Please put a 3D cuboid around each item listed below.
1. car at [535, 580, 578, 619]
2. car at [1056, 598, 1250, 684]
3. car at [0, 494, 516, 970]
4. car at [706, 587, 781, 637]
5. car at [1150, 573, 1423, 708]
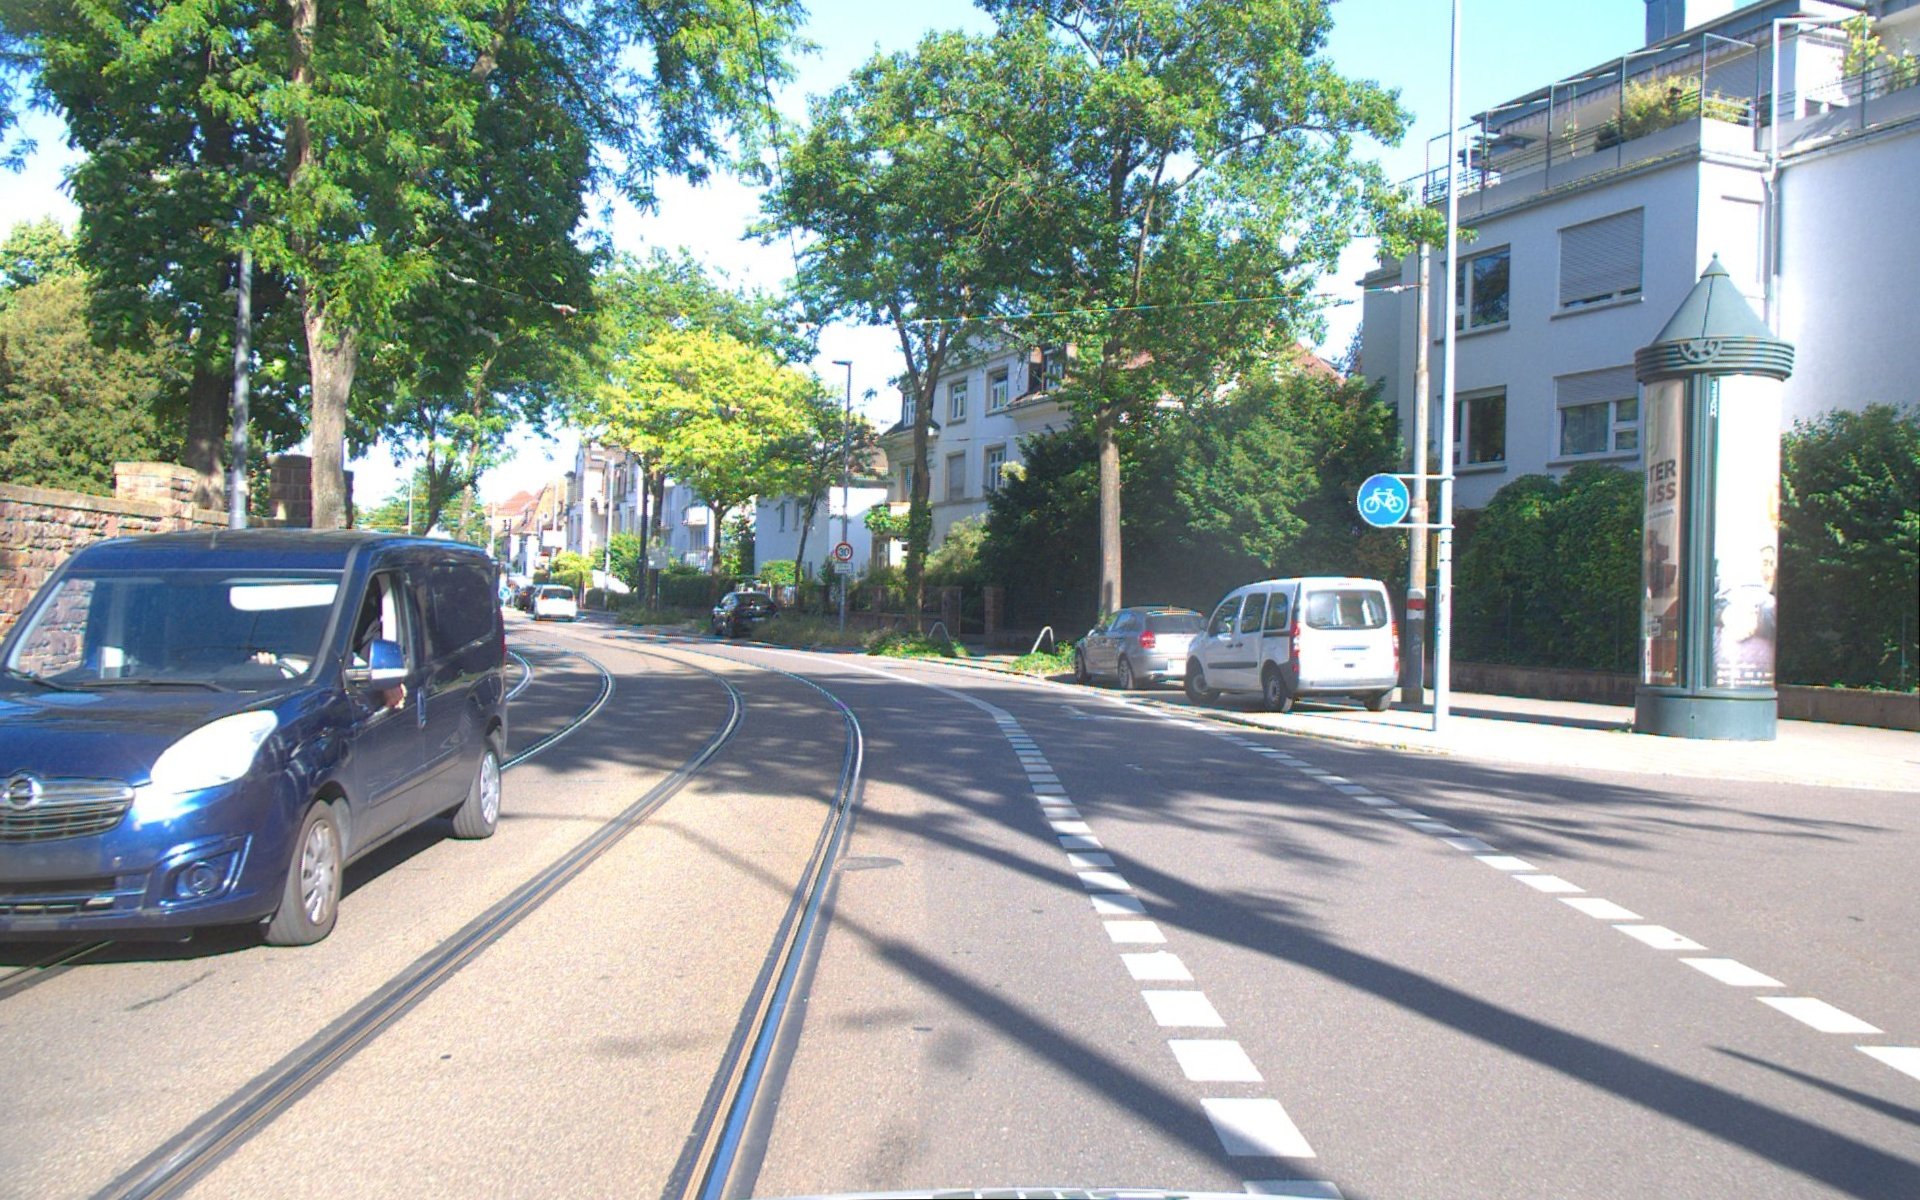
[{"bbox_3d":[-18.796,-0.004,77.077,1.860,1.639,4.213,2,-2,-14],"label":"car"},{"bbox_3d":[3.419,0.708,30.215,1.962,1.448,4.312,1,-1,-17],"label":"car"},{"bbox_3d":[-3.528,0.502,8.528,1.601,1.823,4.334,1,0,-5],"label":"car"},{"bbox_3d":[-8.143,0.412,61.922,1.778,1.723,4.701,-2,1,-20],"label":"car"},{"bbox_3d":[4.645,0.529,24.352,1.990,1.777,4.730,1,0,-16],"label":"car"}]
